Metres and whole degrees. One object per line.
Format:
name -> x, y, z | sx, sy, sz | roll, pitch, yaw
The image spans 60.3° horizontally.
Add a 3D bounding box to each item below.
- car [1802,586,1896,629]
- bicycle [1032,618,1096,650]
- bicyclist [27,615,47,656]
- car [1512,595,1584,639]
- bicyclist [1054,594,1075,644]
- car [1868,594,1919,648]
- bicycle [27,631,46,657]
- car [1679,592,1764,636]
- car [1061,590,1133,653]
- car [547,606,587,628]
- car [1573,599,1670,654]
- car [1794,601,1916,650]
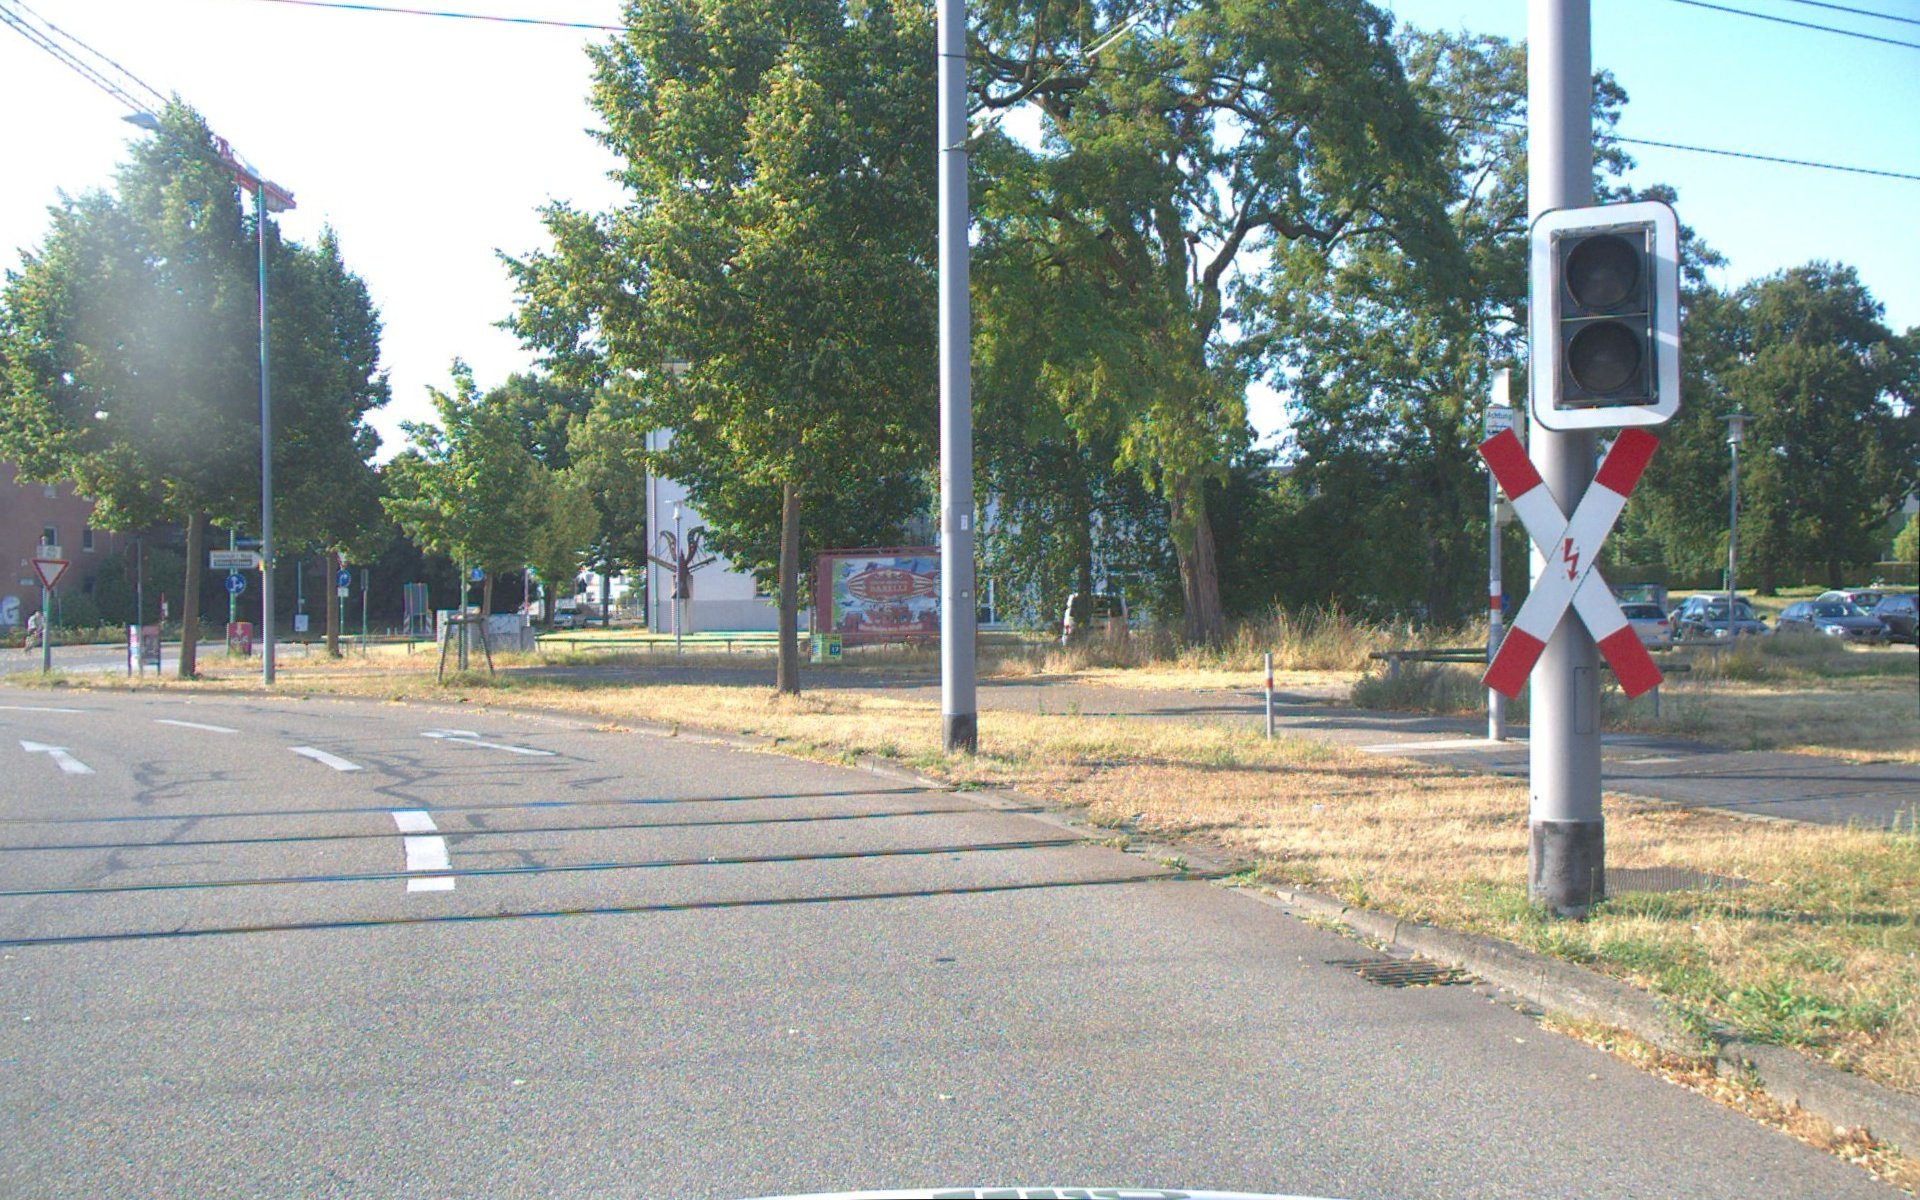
car -> 30.620, 0.264, 57.100 | 1.567, 1.426, 3.972 | -1, 0, 8
bicycle -> 3.248, 1.059, 51.662 | 1.947, 0.934, 0.430 | -1, 0, -2
bicyclist -> -36.482, 1.412, 65.395 | 0.651, 1.589, 0.884 | 0, -1, -32
car -> 20.253, 0.578, 57.108 | 1.567, 1.426, 3.972 | -1, 0, 8
bicyclist -> 3.261, 0.579, 51.662 | 0.609, 1.537, 0.419 | -1, 0, -1
car -> 26.074, 0.541, 44.483 | 1.567, 1.426, 3.972 | -1, 0, 8
bicycle -> -36.391, 1.721, 65.182 | 0.591, 0.980, 2.083 | 0, -1, -31
car -> 25.894, 0.463, 56.356 | 1.567, 1.426, 3.972 | -1, 0, 8
car -> 3.847, 0.594, 45.903 | 1.733, 1.646, 3.972 | -1, 0, 8
car -> -27.345, 1.139, 115.235 | 1.549, 1.467, 3.555 | -1, 0, 8
car -> 18.127, 0.713, 45.471 | 1.567, 1.426, 3.972 | -1, 0, 8
car -> 23.942, 0.657, 44.386 | 1.567, 1.242, 3.972 | -1, 0, 8
